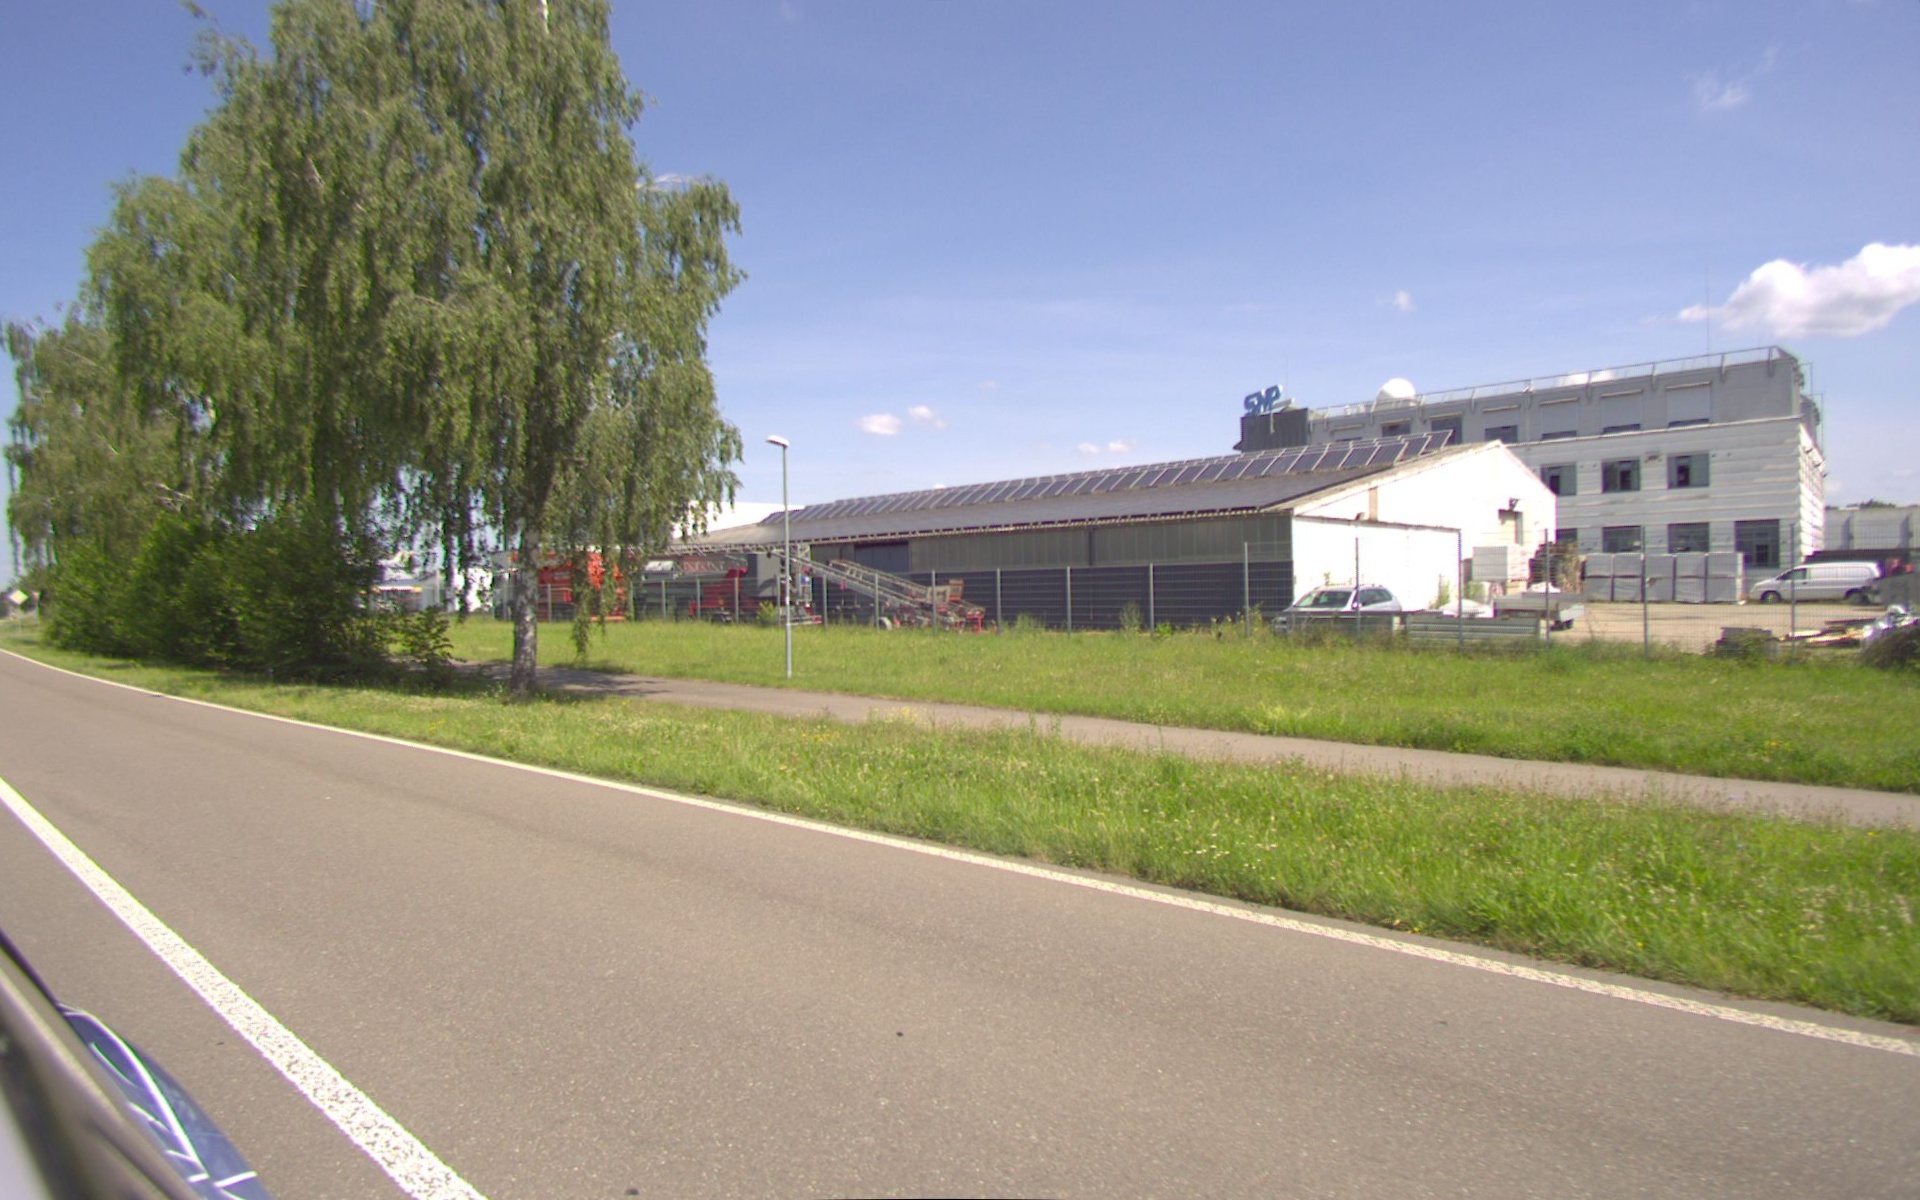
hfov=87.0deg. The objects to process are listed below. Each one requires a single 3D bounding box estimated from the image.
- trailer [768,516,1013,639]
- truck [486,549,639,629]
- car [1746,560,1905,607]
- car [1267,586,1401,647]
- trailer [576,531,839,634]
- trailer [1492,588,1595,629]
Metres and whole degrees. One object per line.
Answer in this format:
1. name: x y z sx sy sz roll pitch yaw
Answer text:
1. trailer: -2.579 -0.649 34.324 8.660 3.672 3.361 -1 0 44
2. truck: -20.338 -0.497 51.233 10.596 3.672 3.067 -1 0 44
3. car: 40.102 -0.727 47.079 5.524 2.026 1.724 -1 0 41
4. car: 9.455 0.377 25.438 1.748 1.353 3.943 -1 1 43
5. trailer: -11.097 -0.576 42.455 14.928 3.672 3.254 -1 0 44
6. trailer: 17.794 0.231 30.779 1.904 1.175 3.944 -1 0 43
